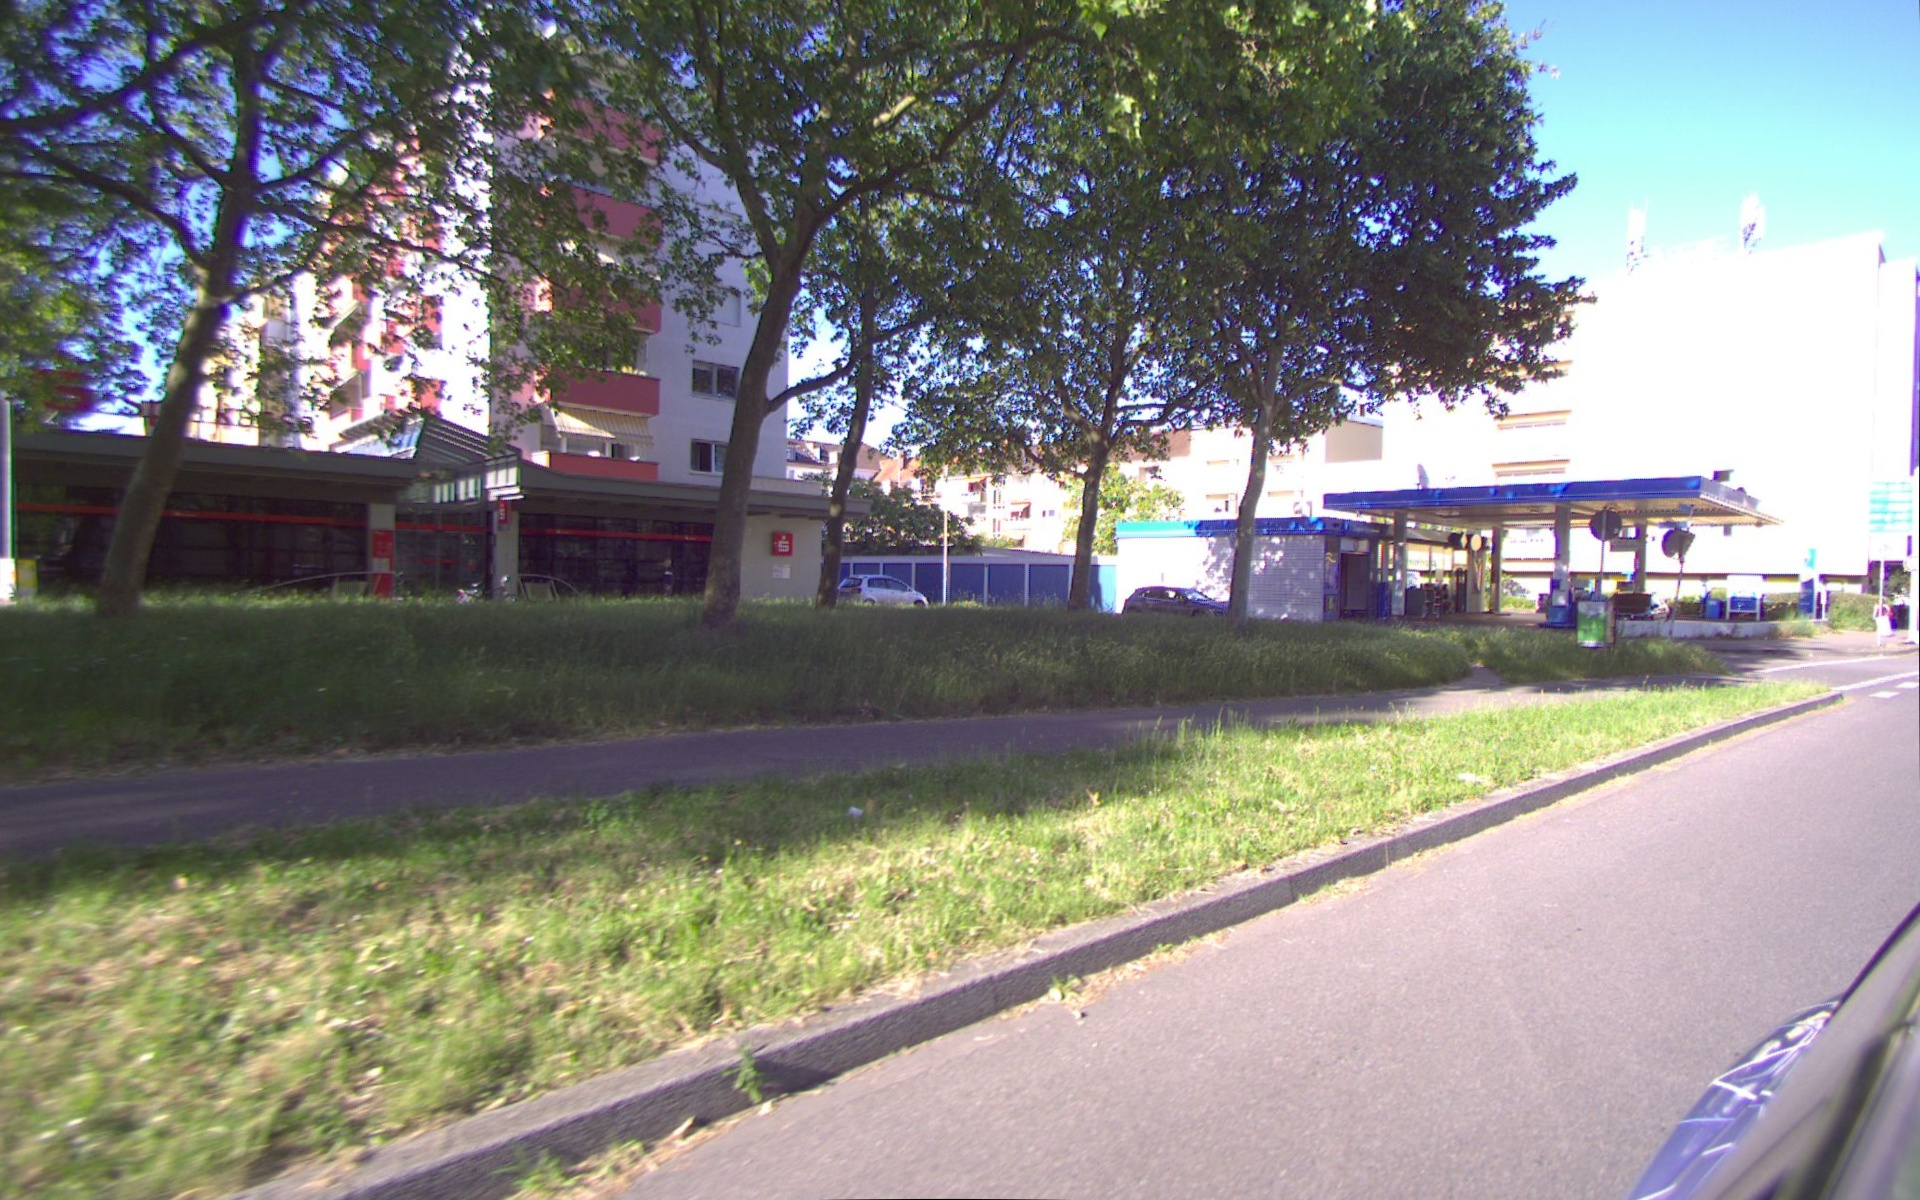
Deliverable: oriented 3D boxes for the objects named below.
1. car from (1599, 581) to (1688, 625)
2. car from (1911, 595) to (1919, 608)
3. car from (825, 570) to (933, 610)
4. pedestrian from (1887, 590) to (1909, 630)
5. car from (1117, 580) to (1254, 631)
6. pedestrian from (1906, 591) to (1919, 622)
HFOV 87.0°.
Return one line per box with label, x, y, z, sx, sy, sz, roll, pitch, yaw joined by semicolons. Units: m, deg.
car;24.884;0.105;36.812;3.935;1.481;1.723;0;1;-41
car;101.630;0.132;105.968;4.192;1.340;2.002;0;1;-31
car;-3.246;-0.393;40.890;4.044;1.522;1.872;0;1;-42
pedestrian;41.008;0.411;44.243;0.542;1.723;0.606;1;1;-37
car;7.588;0.142;34.370;1.949;1.550;4.197;0;1;-42
pedestrian;59.098;0.425;62.454;0.784;1.850;1.022;3;3;32
